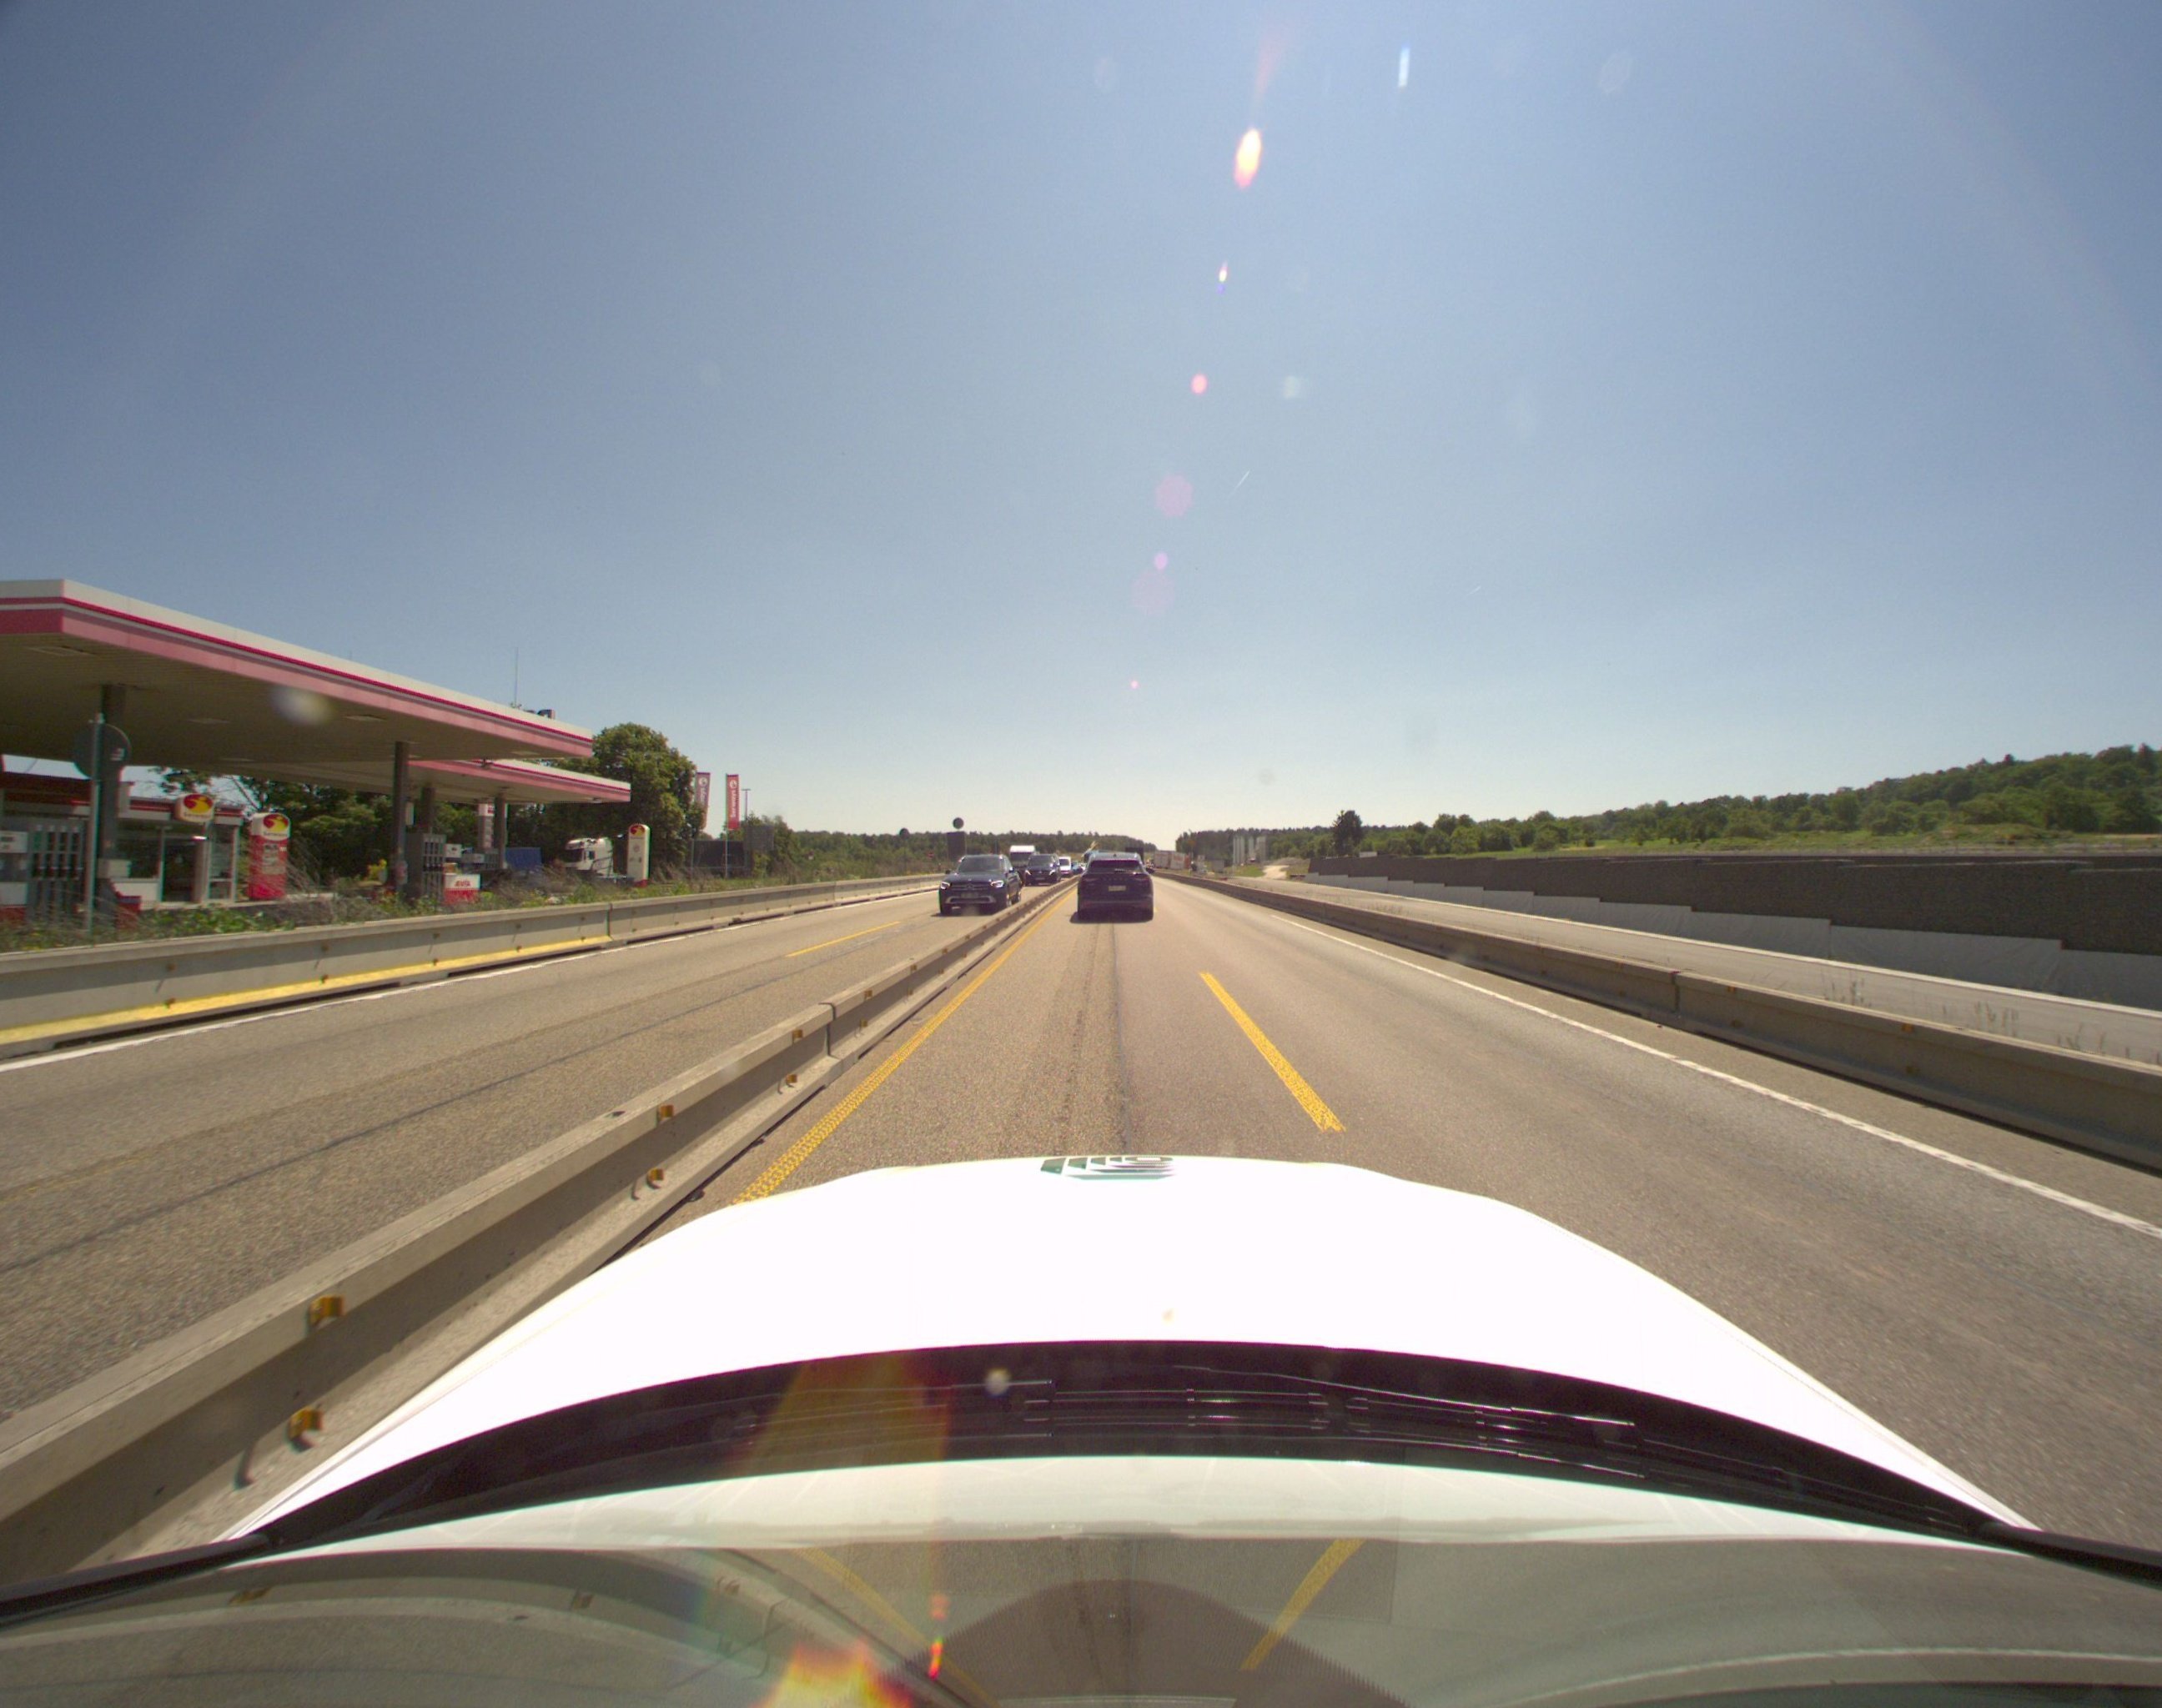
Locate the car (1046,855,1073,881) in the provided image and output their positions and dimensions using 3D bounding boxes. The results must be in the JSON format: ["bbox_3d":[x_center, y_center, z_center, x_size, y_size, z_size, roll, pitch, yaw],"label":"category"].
[{"bbox_3d":[-1.618,1.032,62.699,1.846,1.839,4.592,0,0,1],"label":"car"}]

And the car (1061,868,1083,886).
[{"bbox_3d":[-0.859,2.192,78.855,1.897,1.608,4.002,0,0,2],"label":"car"}]

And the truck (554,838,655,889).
[{"bbox_3d":[-38.955,0.788,66.791,3.120,3.985,6.385,-1,-1,29],"label":"truck"}]

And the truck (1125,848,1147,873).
[{"bbox_3d":[6.816,0.743,100.325,2.661,2.945,5.627,0,0,4],"label":"truck"}]

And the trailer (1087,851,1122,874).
[{"bbox_3d":[4.559,1.619,152.932,2.891,4.129,13.978,-1,-2,18],"label":"trailer"}]

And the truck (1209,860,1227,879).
[{"bbox_3d":[32.970,3.742,195.477,3.452,4.220,10.411,5,0,13],"label":"truck"}]

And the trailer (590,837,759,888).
[{"bbox_3d":[-35.744,0.749,72.713,3.120,4.111,14.250,-1,-1,29],"label":"trailer"}]

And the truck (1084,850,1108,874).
[{"bbox_3d":[2.694,1.527,147.006,2.892,4.129,6.163,-1,-2,16],"label":"truck"}]

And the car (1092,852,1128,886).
[{"bbox_3d":[1.673,0.887,47.948,1.987,1.844,4.000,1,-1,1],"label":"car"}]

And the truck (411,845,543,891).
[{"bbox_3d":[-43.256,0.989,58.589,2.794,3.064,7.161,-1,-1,24],"label":"truck"}]

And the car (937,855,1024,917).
[{"bbox_3d":[-2.830,0.849,24.021,1.849,1.603,4.737,0,0,1],"label":"car"}]

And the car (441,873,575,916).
[{"bbox_3d":[-21.263,1.453,30.476,1.744,1.411,4.319,0,-1,3],"label":"car"}]

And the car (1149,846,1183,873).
[{"bbox_3d":[14.728,0.992,140.184,3.408,4.101,9.241,4,-1,20],"label":"car"}]

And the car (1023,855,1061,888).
[{"bbox_3d":[-2.272,1.013,48.857,1.900,1.804,5.083,0,0,1],"label":"car"}]

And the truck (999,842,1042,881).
[{"bbox_3d":[-4.654,0.612,63.814,2.470,2.824,8.132,0,-1,2],"label":"truck"}]

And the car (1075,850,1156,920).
[{"bbox_3d":[0.884,0.719,20.644,1.835,1.582,4.002,0,0,3],"label":"car"}]
